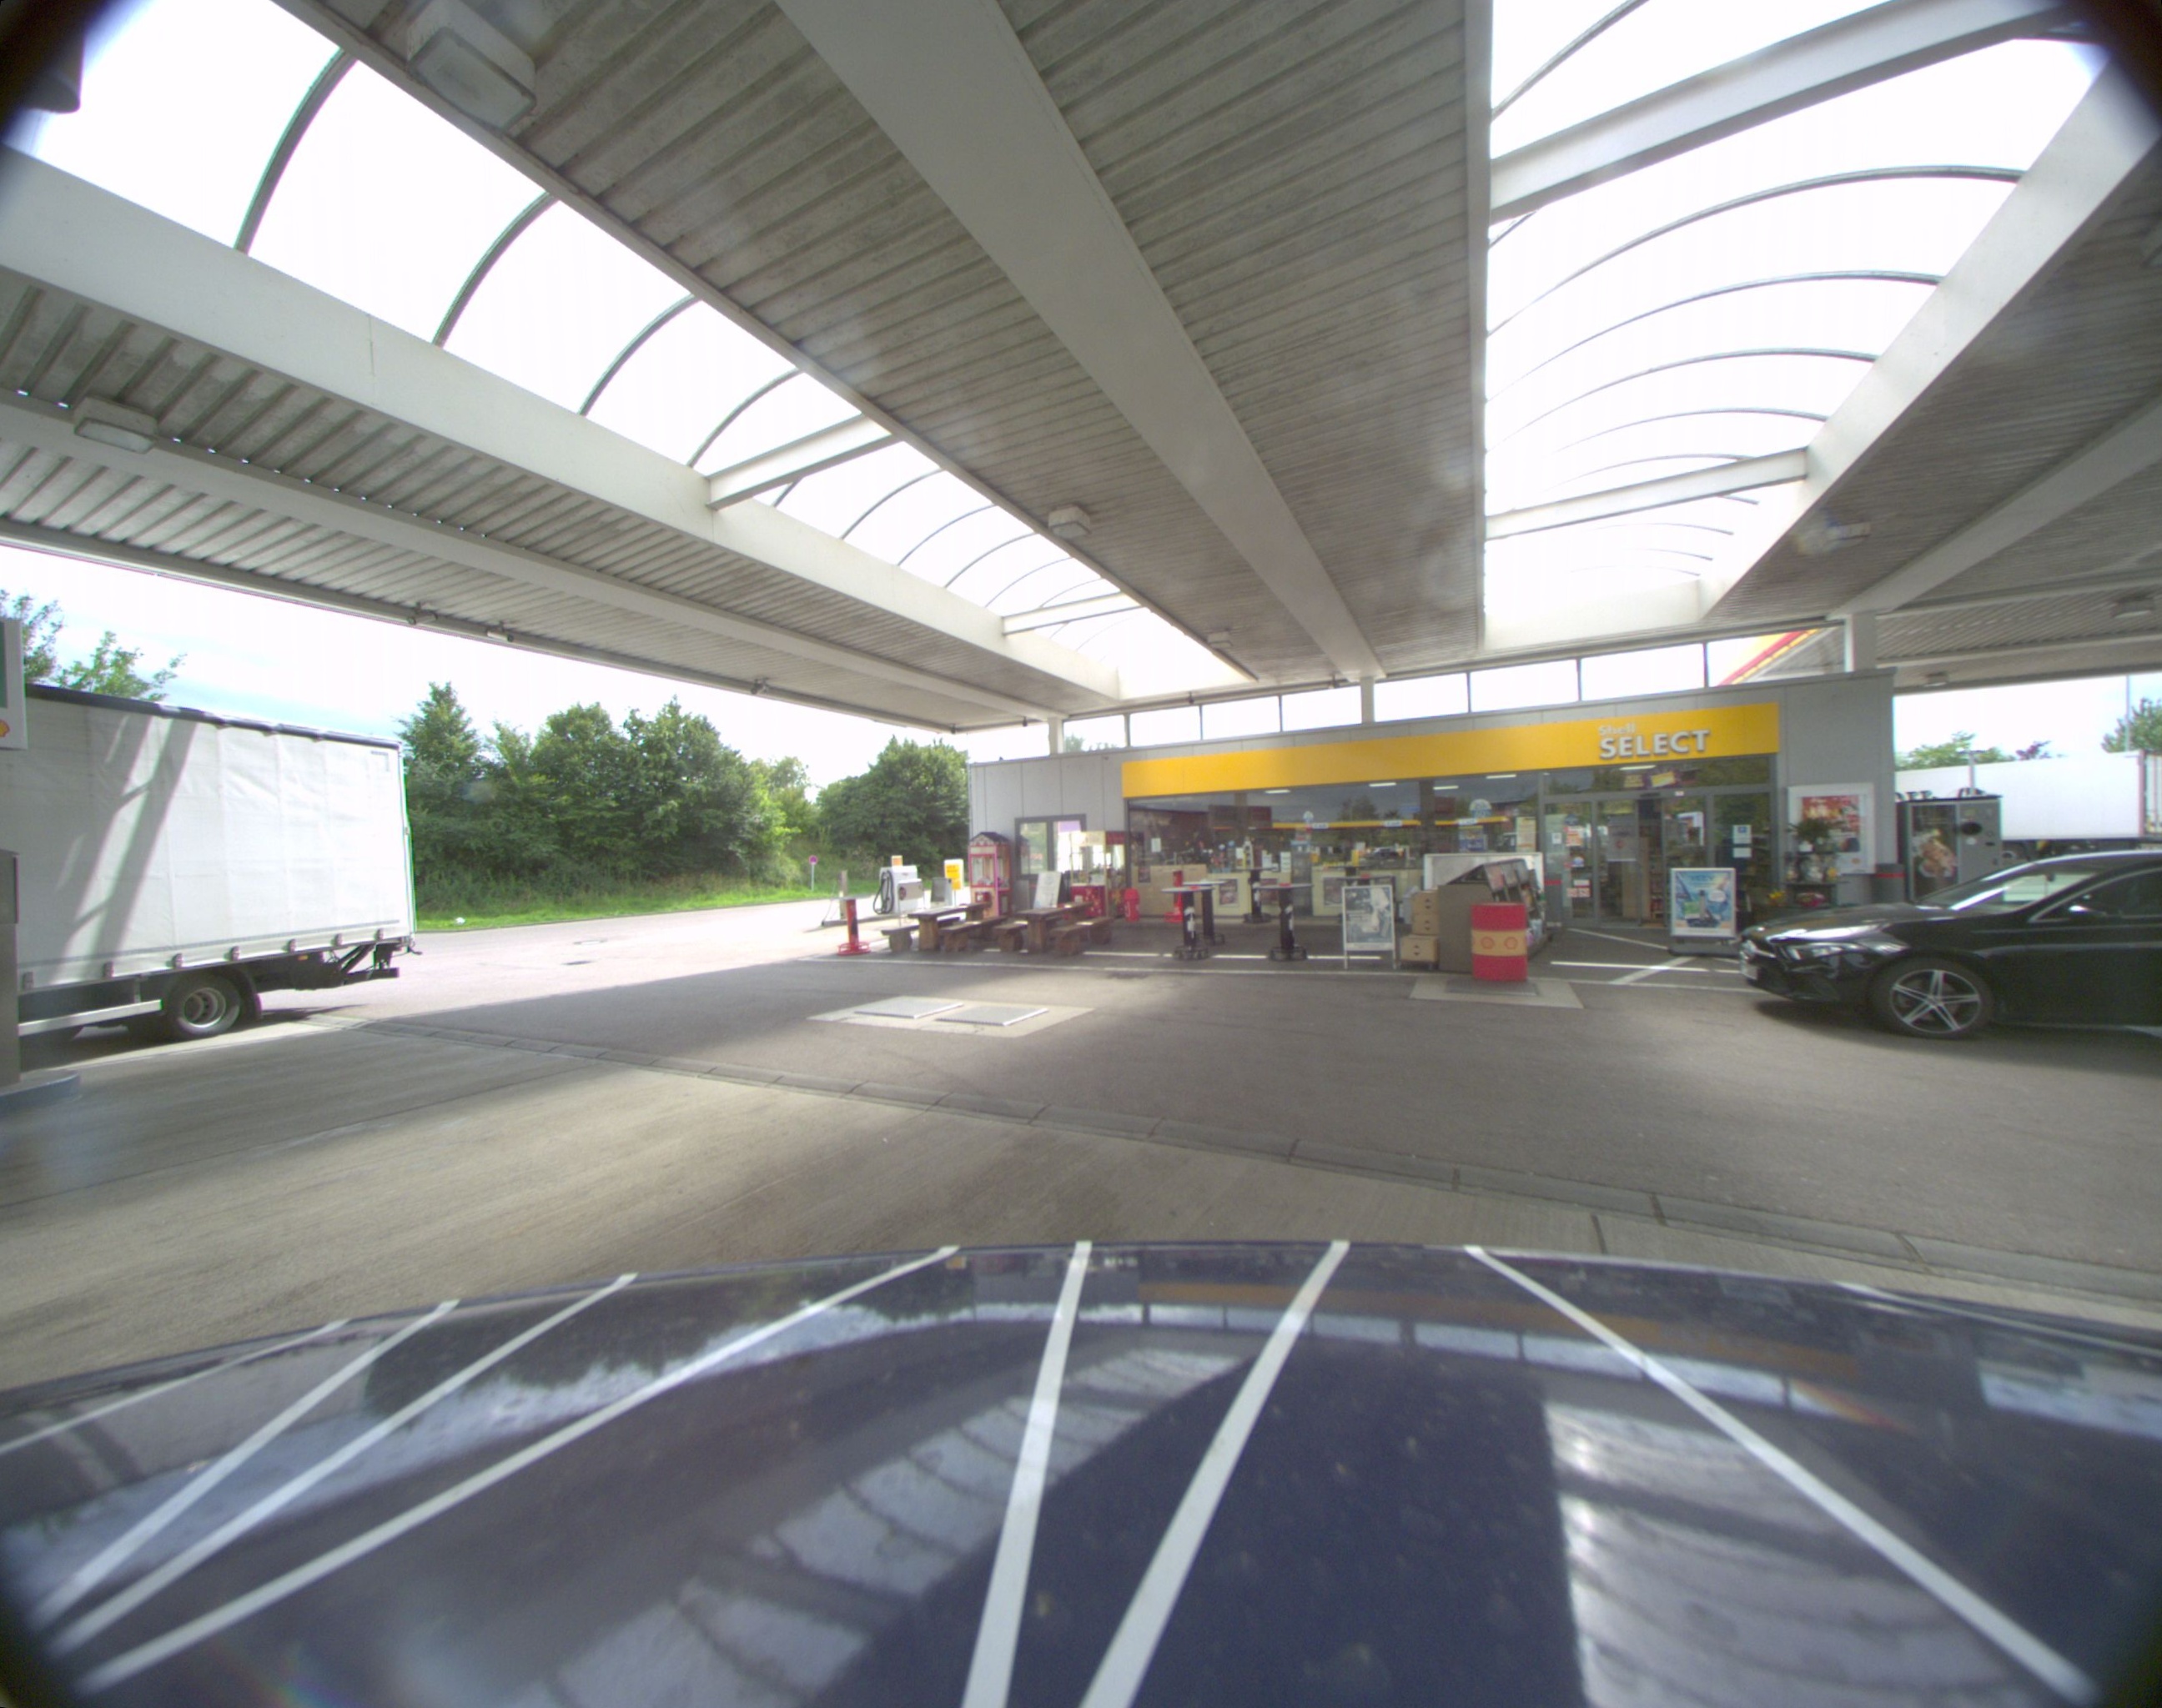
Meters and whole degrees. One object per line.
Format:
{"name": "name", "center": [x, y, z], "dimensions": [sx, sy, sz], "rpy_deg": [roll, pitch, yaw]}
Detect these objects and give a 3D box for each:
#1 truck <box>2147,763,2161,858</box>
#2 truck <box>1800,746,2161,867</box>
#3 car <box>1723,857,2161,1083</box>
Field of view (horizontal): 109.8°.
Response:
{"name": "truck", "center": [51.475, -2.039, 33.170], "dimensions": [3.383, 4.479, 6.239], "rpy_deg": [-2, 1, 29]}
{"name": "truck", "center": [35.127, -1.612, 30.087], "dimensions": [2.796, 3.982, 9.578], "rpy_deg": [-3, 1, -16]}
{"name": "car", "center": [8.131, 0.815, 5.943], "dimensions": [4.461, 1.491, 1.782], "rpy_deg": [-2, 1, 28]}
